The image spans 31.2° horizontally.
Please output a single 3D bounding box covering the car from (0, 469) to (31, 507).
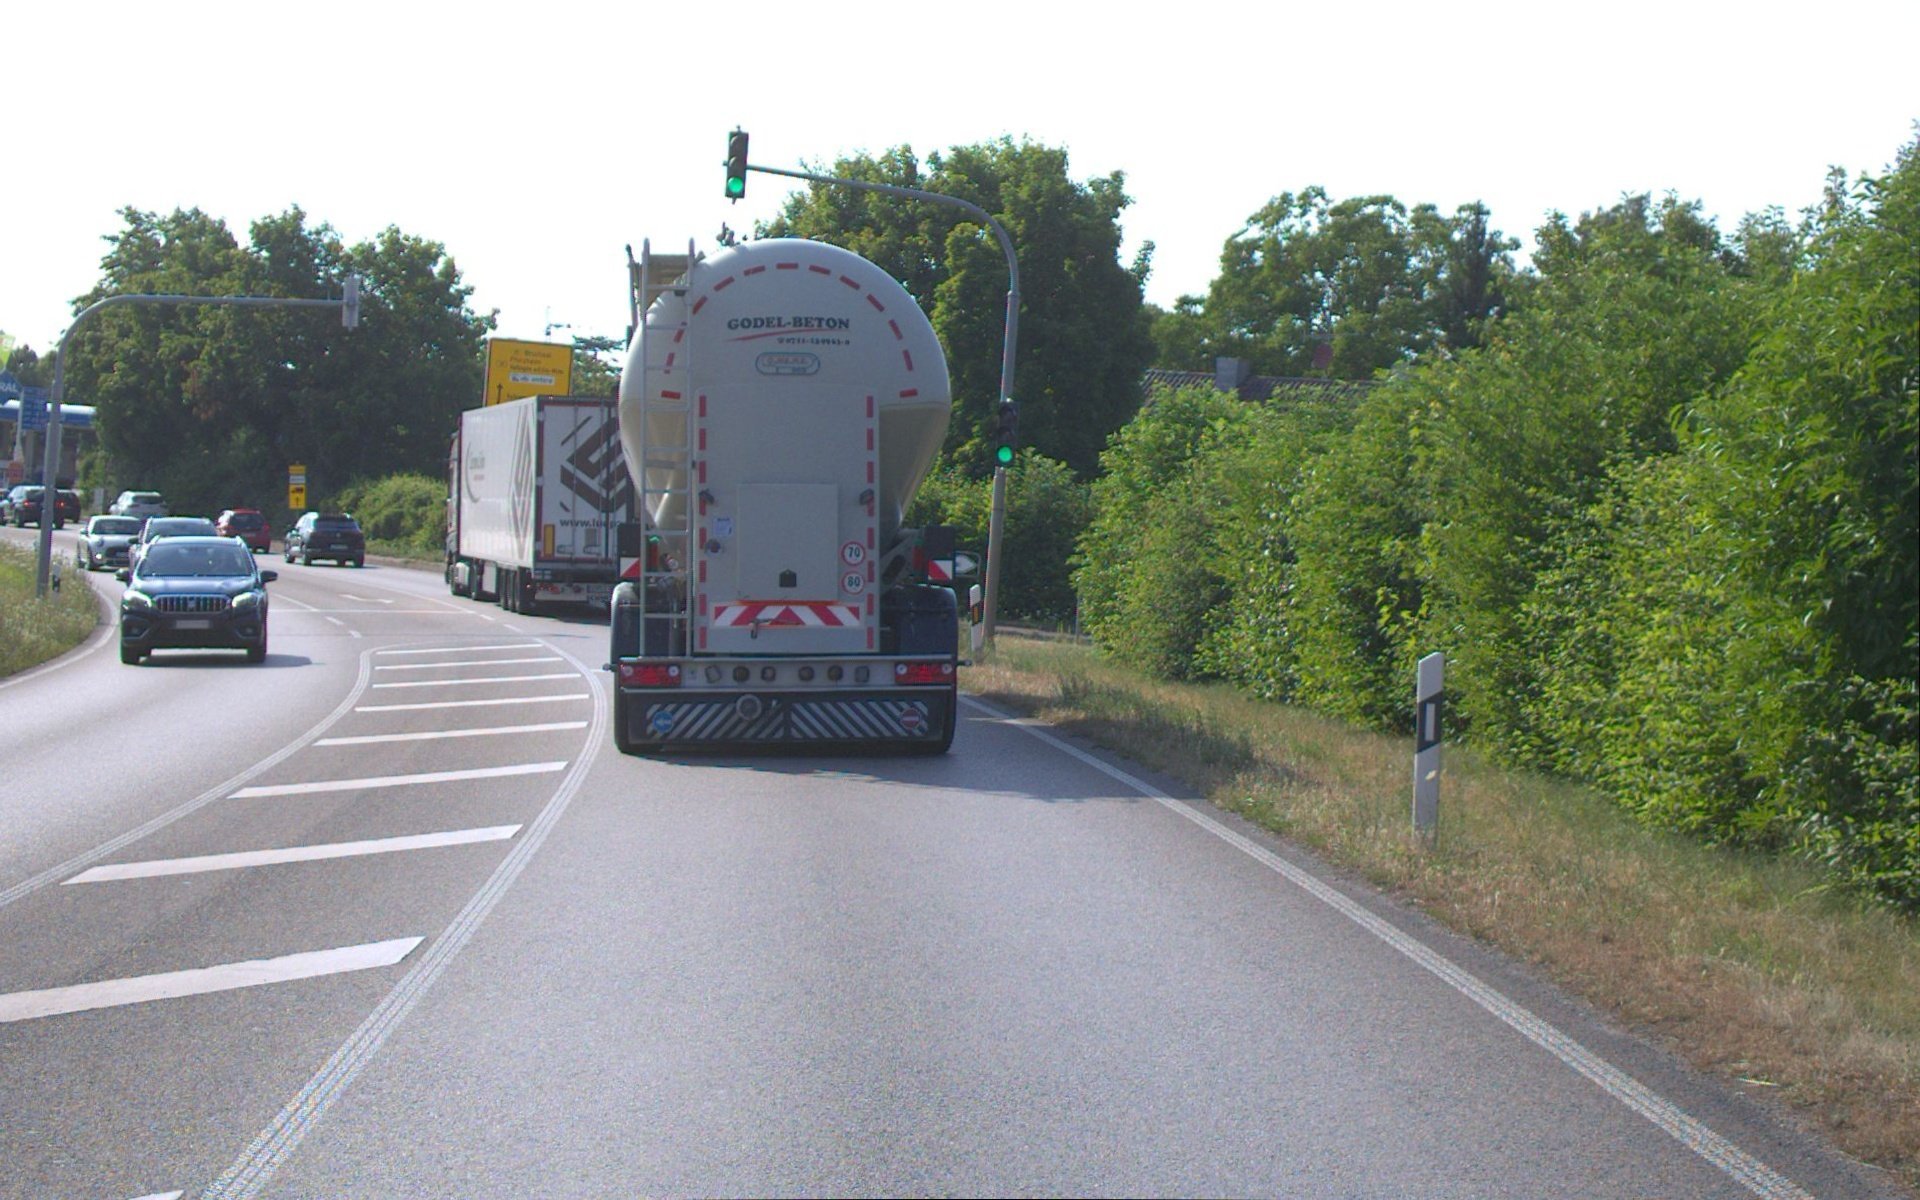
[{"bbox_3d":[-42.261,-4.953,151.223,2.084,1.594,4.001,2,1,-23],"label":"car"}]

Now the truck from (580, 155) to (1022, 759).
[{"bbox_3d":[-1.754,-1.006,30.074,2.975,4.161,11.664,2,0,-6],"label":"truck"}]

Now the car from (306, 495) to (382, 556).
[{"bbox_3d":[-18.274,-2.187,101.881,1.993,1.650,4.001,2,0,-13],"label":"car"}]

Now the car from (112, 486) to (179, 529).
[{"bbox_3d":[-33.622,-3.790,141.922,1.841,1.650,4.001,2,0,-25],"label":"car"}]

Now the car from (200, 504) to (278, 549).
[{"bbox_3d":[-24.721,-2.514,117.860,1.683,1.463,4.001,2,0,-25],"label":"car"}]

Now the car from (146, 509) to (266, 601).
[{"bbox_3d":[-15.376,-0.945,70.291,1.993,1.719,4.427,2,2,-7],"label":"car"}]

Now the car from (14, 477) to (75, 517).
[{"bbox_3d":[-38.257,-4.300,143.564,1.881,1.594,4.001,2,1,-23],"label":"car"}]

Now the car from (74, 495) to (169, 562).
[{"bbox_3d":[-21.982,-1.862,90.080,1.840,1.650,4.001,2,0,-22],"label":"car"}]

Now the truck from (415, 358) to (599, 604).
[{"bbox_3d":[-9.682,-2.419,72.911,2.962,4.870,6.432,2,0,-14],"label":"truck"}]

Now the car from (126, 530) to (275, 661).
[{"bbox_3d":[-9.670,-0.066,43.999,1.694,1.547,4.153,2,0,-11],"label":"car"}]

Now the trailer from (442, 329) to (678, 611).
[{"bbox_3d":[-7.810,-2.315,65.764,2.963,4.865,10.291,2,0,-14],"label":"trailer"}]
